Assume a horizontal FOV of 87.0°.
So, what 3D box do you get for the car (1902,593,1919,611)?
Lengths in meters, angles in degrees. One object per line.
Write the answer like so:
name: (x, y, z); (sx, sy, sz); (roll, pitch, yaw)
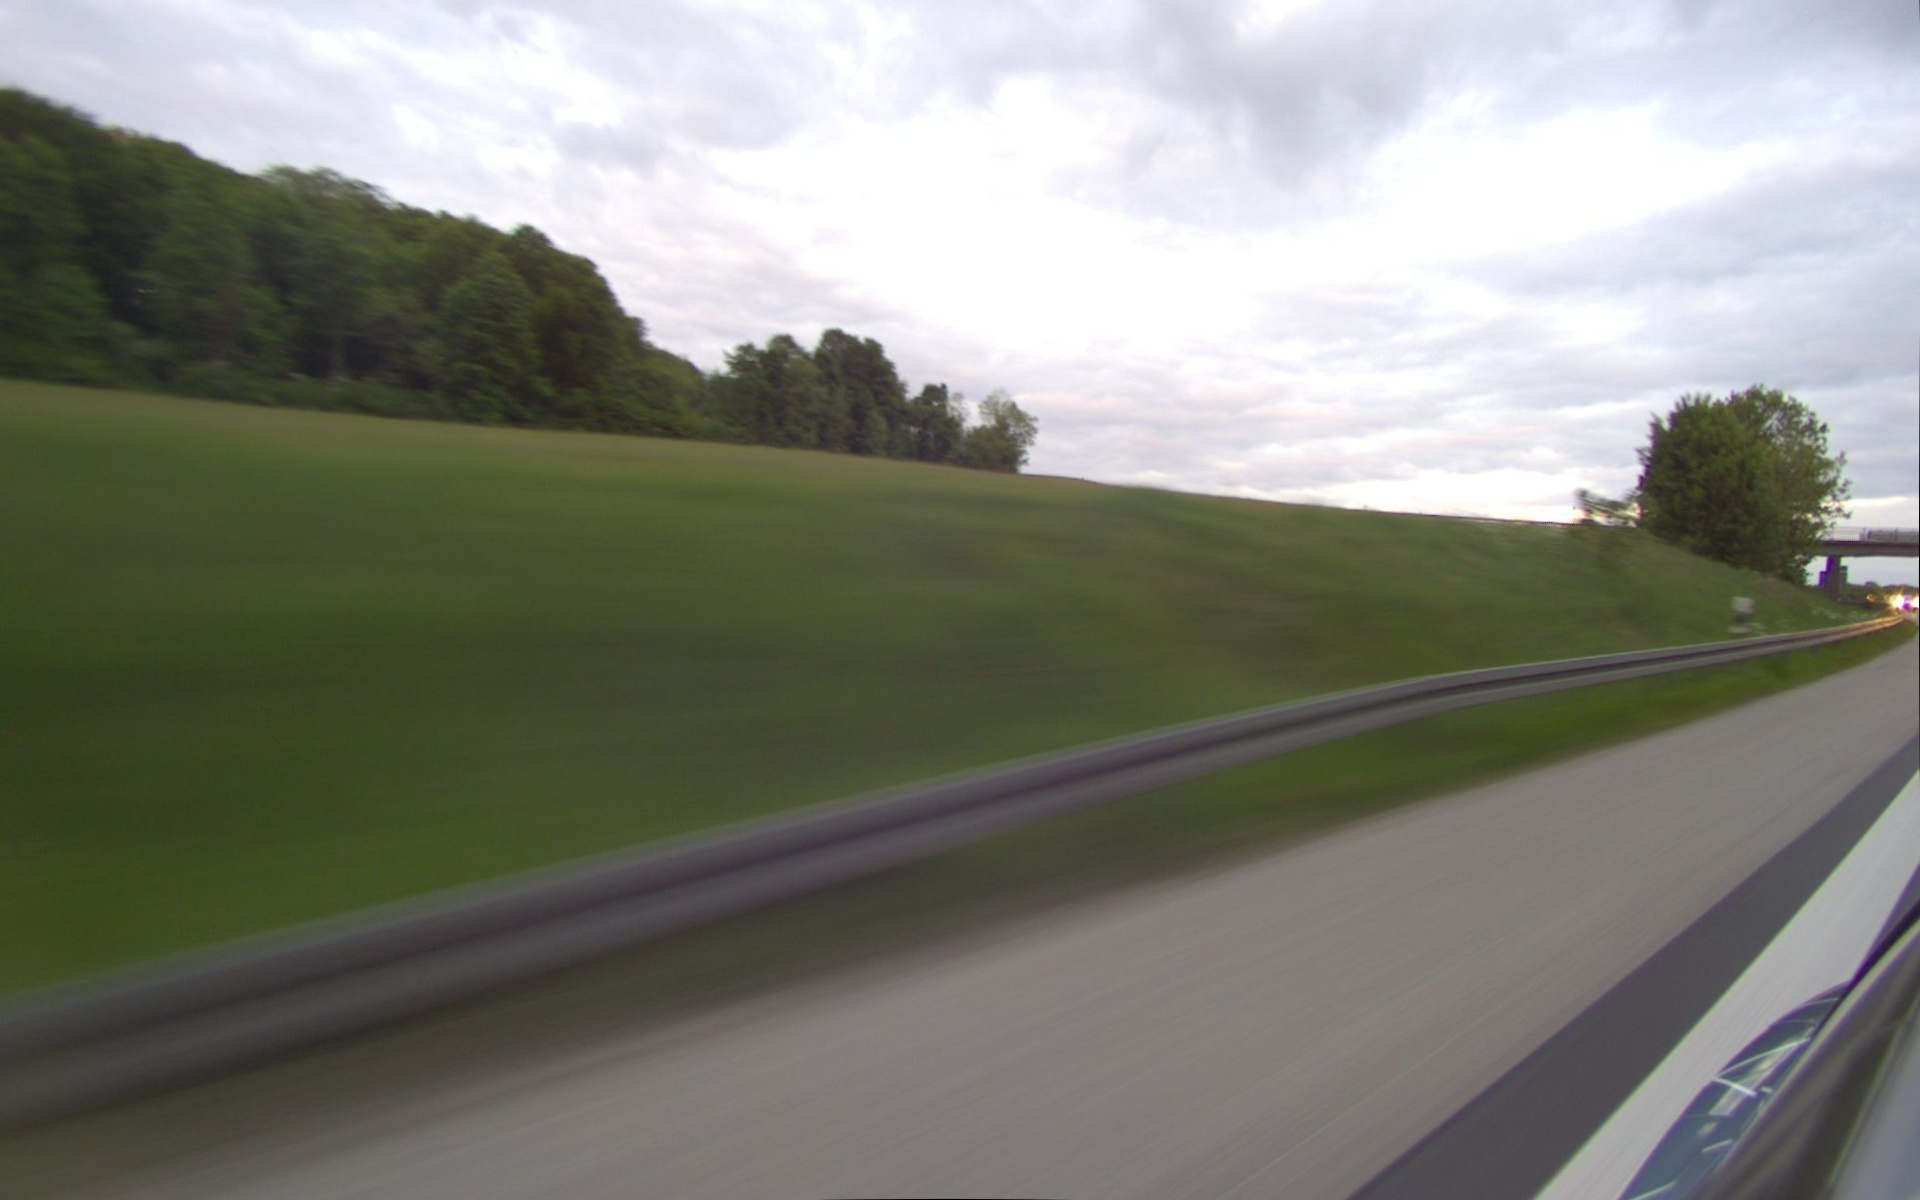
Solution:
car: (108.646, 0.279, 115.130); (1.913, 1.860, 3.941); (4, 2, 40)
